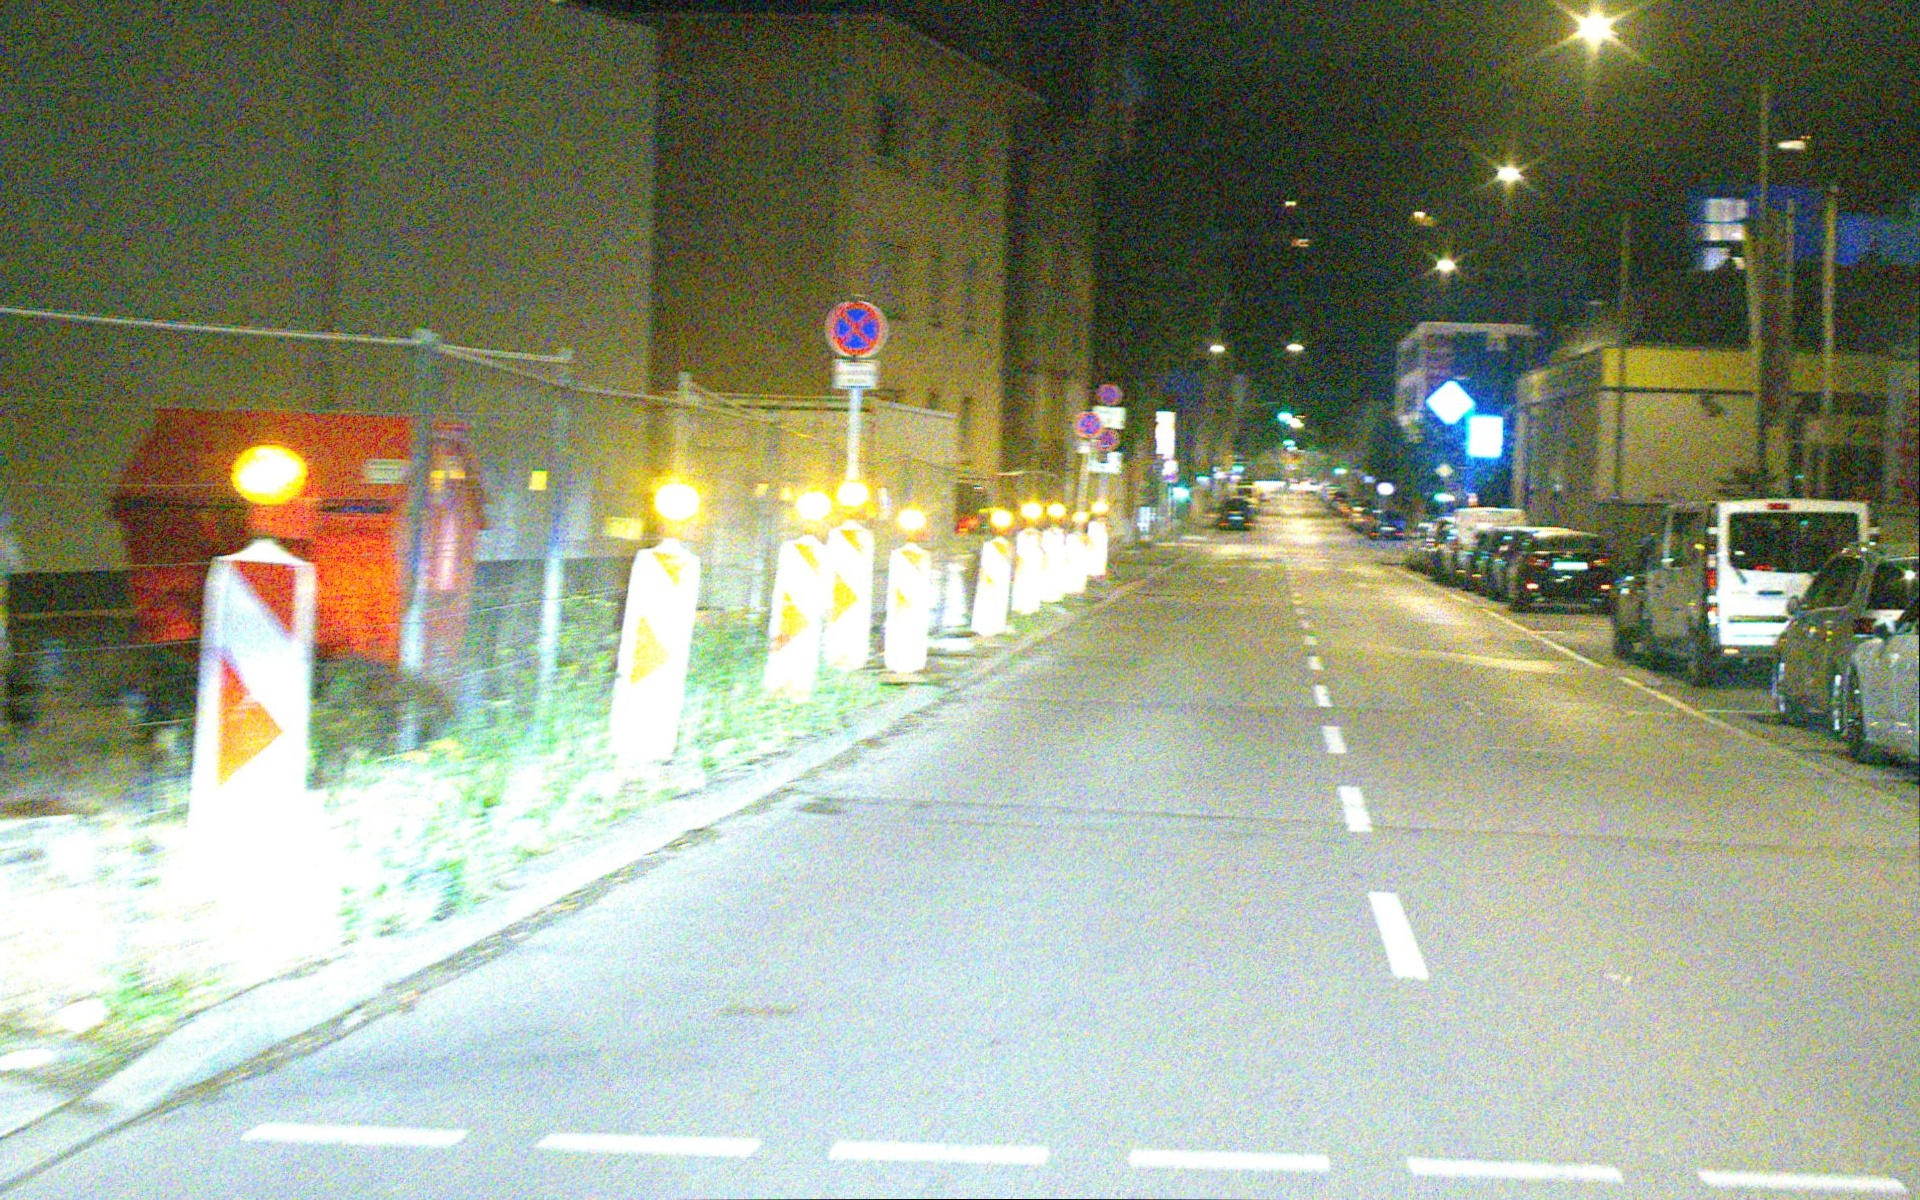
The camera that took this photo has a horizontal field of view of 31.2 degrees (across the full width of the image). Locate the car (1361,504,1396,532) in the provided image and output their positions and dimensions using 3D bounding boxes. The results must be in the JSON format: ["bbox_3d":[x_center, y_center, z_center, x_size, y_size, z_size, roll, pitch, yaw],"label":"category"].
[{"bbox_3d":[24.621,-4.813,202.359,1.994,1.515,3.999,2,1,7],"label":"car"}]

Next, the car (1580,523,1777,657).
[{"bbox_3d":[9.029,-0.167,43.500,1.819,1.593,4.220,0,1,3],"label":"car"}]

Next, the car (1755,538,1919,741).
[{"bbox_3d":[7.878,0.273,28.802,1.744,1.560,4.210,1,1,5],"label":"car"}]

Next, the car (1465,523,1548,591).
[{"bbox_3d":[12.451,-0.999,78.491,1.595,1.462,3.891,2,1,6],"label":"car"}]

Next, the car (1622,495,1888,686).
[{"bbox_3d":[8.589,-0.151,37.607,2.072,1.922,5.370,1,1,5],"label":"car"}]

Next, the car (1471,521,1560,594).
[{"bbox_3d":[11.857,-0.933,73.556,1.595,1.462,3.718,2,1,6],"label":"car"}]

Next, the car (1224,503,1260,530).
[{"bbox_3d":[16.218,-4.790,197.700,1.994,1.496,3.999,2,1,5],"label":"car"}]

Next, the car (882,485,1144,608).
[{"bbox_3d":[0.908,-0.914,58.323,3.991,1.882,1.907,3,1,18],"label":"car"}]

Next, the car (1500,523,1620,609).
[{"bbox_3d":[10.762,-0.636,61.870,1.779,1.421,4.480,2,1,6],"label":"car"}]

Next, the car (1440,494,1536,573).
[{"bbox_3d":[12.910,-1.656,84.261,1.800,1.868,4.774,0,2,3],"label":"car"}]

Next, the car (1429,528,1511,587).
[{"bbox_3d":[13.192,-1.124,89.084,1.816,1.422,4.188,1,2,5],"label":"car"}]

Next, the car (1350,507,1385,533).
[{"bbox_3d":[24.777,-4.860,208.933,1.994,1.515,3.999,2,1,7],"label":"car"}]

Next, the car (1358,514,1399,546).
[{"bbox_3d":[21.737,-3.646,178.678,1.994,1.511,3.999,3,2,7],"label":"car"}]

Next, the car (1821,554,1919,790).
[{"bbox_3d":[7.216,0.462,23.571,1.744,1.503,4.833,1,1,5],"label":"car"}]

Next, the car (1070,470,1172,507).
[{"bbox_3d":[7.275,-5.032,155.045,4.440,1.444,2.000,2,1,5],"label":"car"}]

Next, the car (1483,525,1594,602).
[{"bbox_3d":[11.449,-0.746,68.258,1.779,1.421,3.891,2,1,5],"label":"car"}]
